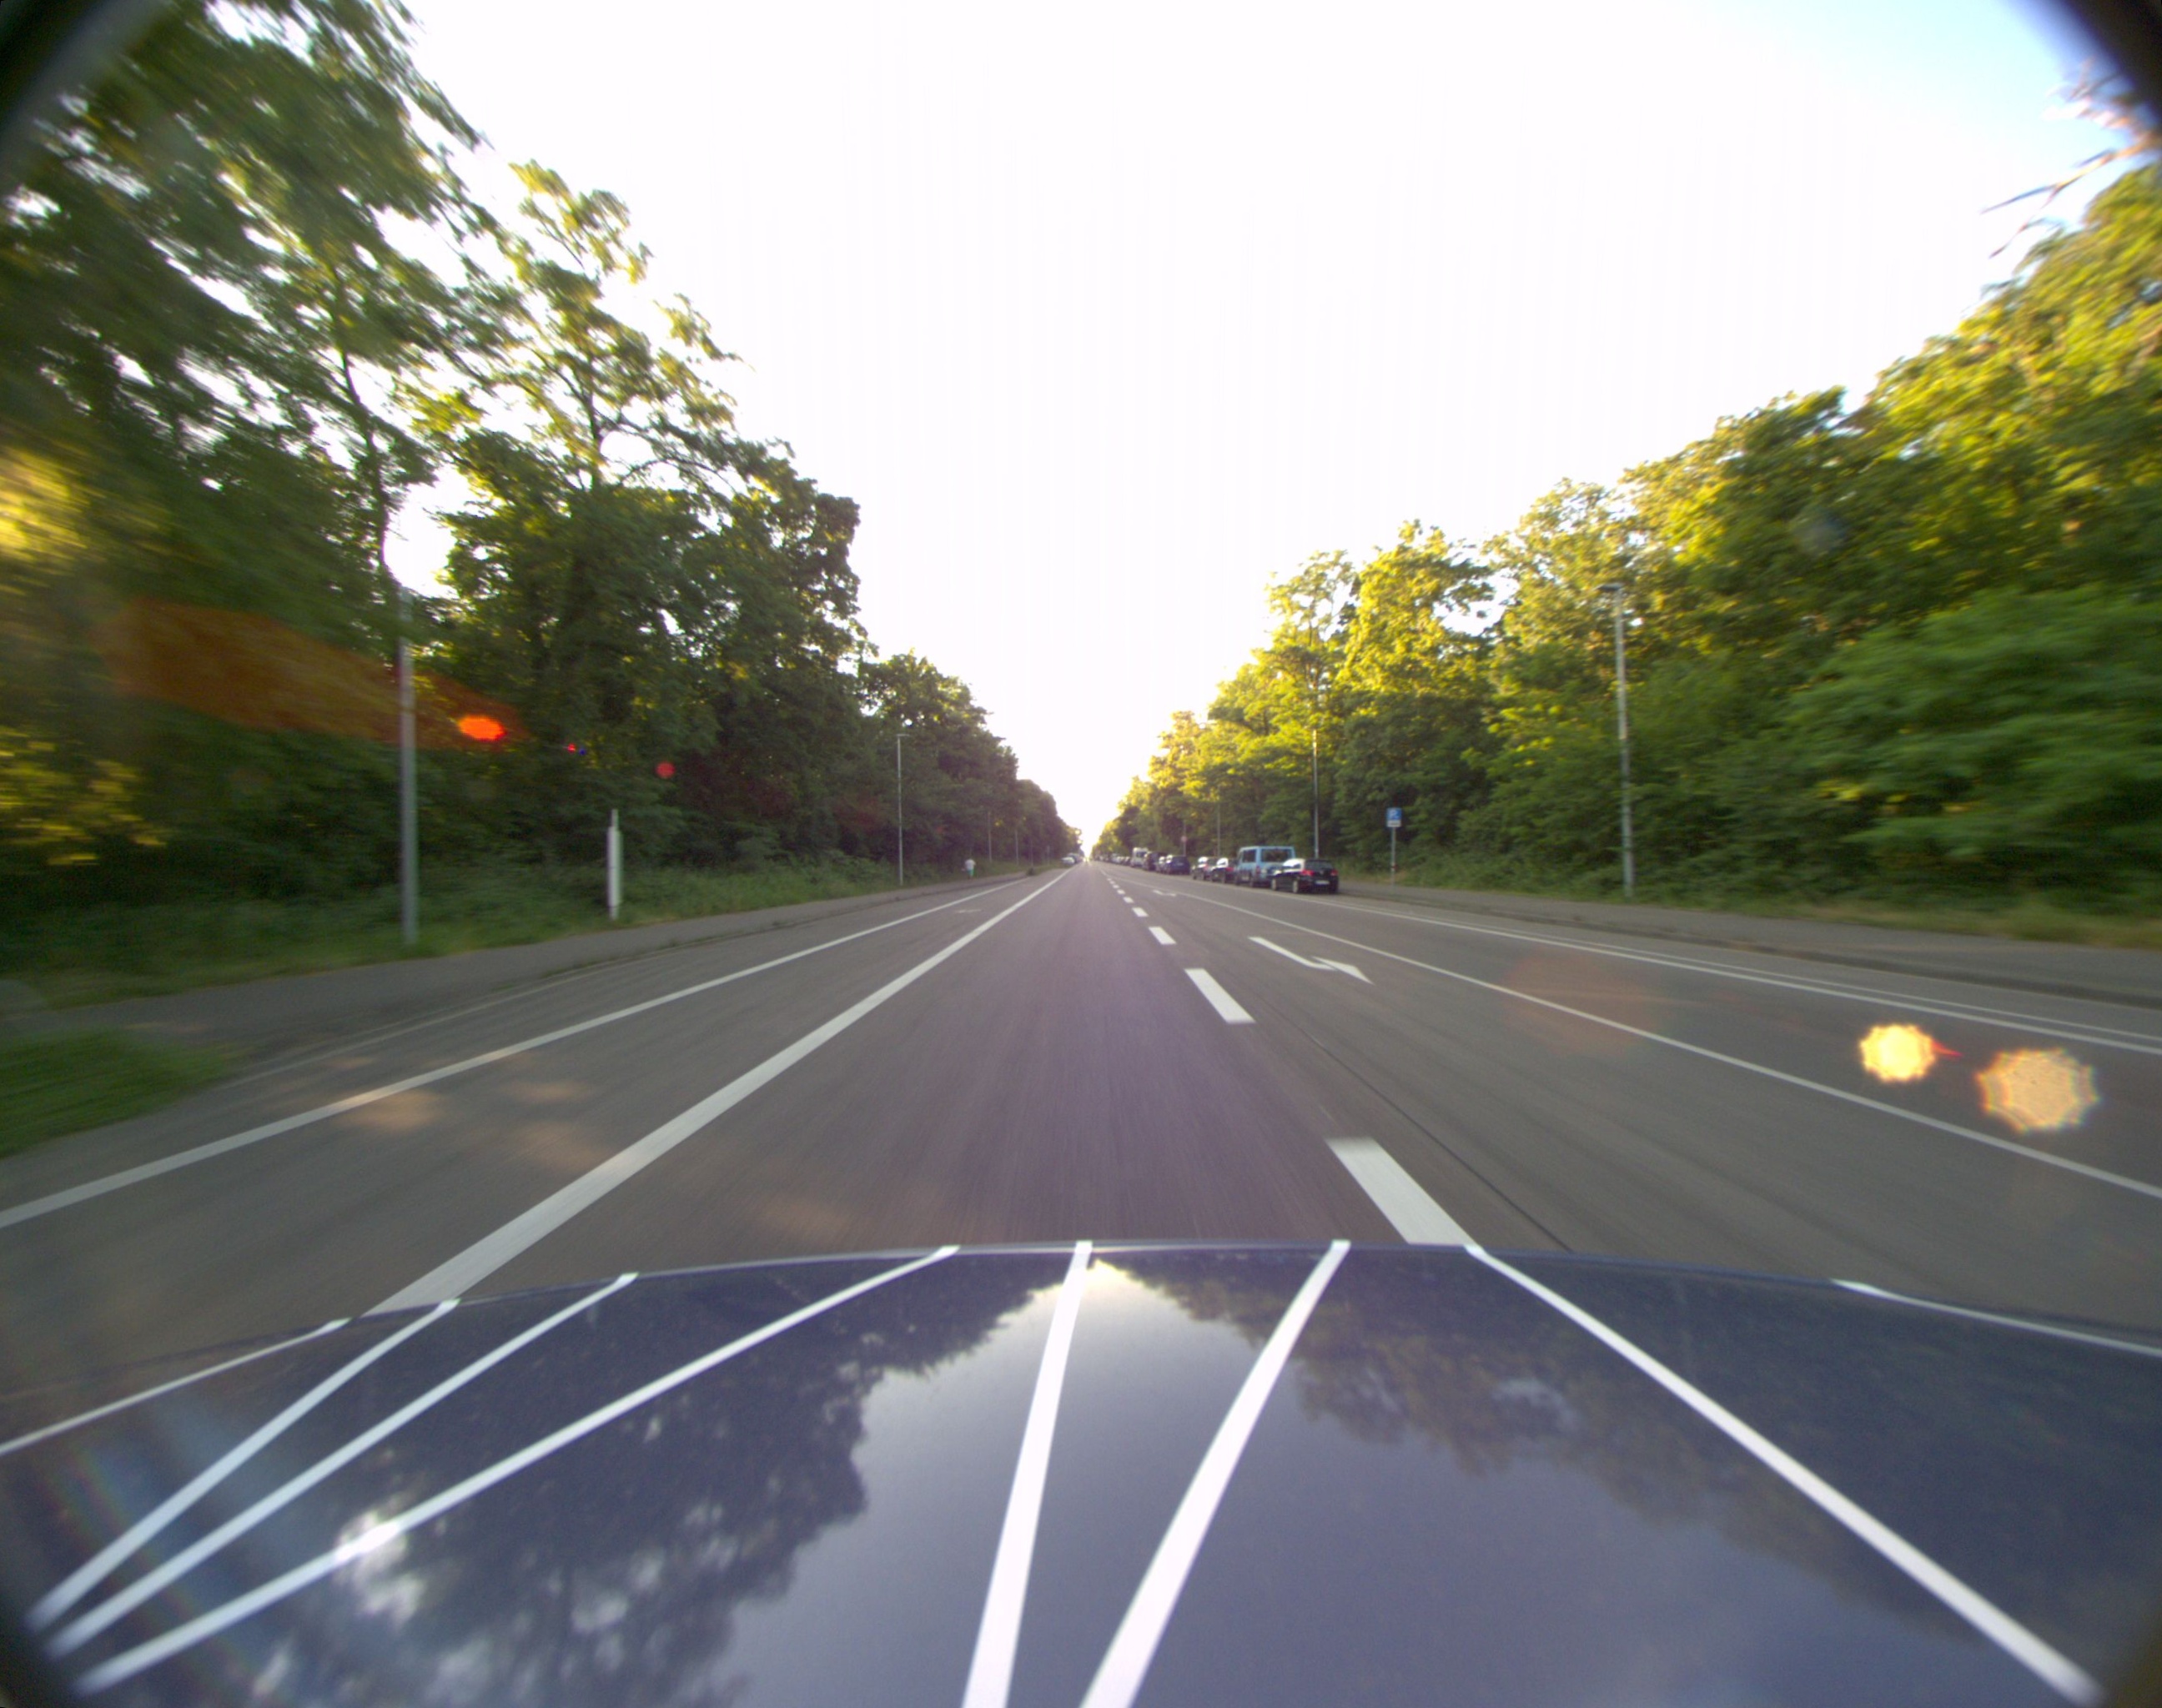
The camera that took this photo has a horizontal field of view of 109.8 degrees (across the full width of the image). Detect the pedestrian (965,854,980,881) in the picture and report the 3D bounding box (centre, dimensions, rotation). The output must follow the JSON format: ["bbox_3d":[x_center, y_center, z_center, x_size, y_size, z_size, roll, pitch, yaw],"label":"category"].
[{"bbox_3d":[-7.233,0.902,50.869,0.840,1.741,0.726,-1,0,2],"label":"pedestrian"}]

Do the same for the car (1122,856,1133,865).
[{"bbox_3d":[8.200,1.109,135.406,1.716,1.500,3.657,1,0,0],"label":"car"}]

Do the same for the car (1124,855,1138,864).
[{"bbox_3d":[8.176,0.970,124.851,1.850,1.454,4.229,1,-1,-2],"label":"car"}]

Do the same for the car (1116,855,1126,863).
[{"bbox_3d":[8.357,1.012,158.653,1.699,1.636,4.572,1,0,-1],"label":"car"}]

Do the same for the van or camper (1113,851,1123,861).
[{"bbox_3d":[9.004,0.612,186.419,2.116,2.376,6.381,2,0,-1],"label":"van or camper"}]

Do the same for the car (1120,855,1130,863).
[{"bbox_3d":[8.221,0.934,141.080,1.601,1.386,4.052,0,0,0],"label":"car"}]

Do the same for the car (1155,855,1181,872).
[{"bbox_3d":[7.716,0.817,67.545,1.673,1.492,4.245,0,0,-1],"label":"car"}]

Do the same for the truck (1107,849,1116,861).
[{"bbox_3d":[8.824,0.356,219.158,2.226,3.188,6.271,2,0,-1],"label":"truck"}]

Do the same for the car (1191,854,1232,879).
[{"bbox_3d":[8.290,0.793,48.513,1.621,1.525,4.038,0,0,-4],"label":"car"}]

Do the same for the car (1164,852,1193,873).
[{"bbox_3d":[7.966,0.690,62.502,1.749,1.702,4.522,0,0,-1],"label":"car"}]

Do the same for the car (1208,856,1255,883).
[{"bbox_3d":[8.554,0.843,43.519,1.547,1.484,3.970,0,0,-6],"label":"car"}]

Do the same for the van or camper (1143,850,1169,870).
[{"bbox_3d":[7.601,0.602,77.636,2.008,2.006,5.460,1,0,-1],"label":"van or camper"}]

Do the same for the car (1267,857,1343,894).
[{"bbox_3d":[9.384,0.862,32.185,1.692,1.453,4.241,0,0,-5],"label":"car"}]

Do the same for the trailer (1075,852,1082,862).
[{"bbox_3d":[-0.598,0.719,204.695,1.866,2.633,4.270,-2,0,0],"label":"trailer"}]

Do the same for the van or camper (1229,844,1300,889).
[{"bbox_3d":[9.029,0.565,37.831,2.037,2.082,5.012,0,0,-3],"label":"van or camper"}]

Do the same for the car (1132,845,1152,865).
[{"bbox_3d":[8.060,0.143,101.623,2.084,2.591,7.089,2,0,0],"label":"car"}]
